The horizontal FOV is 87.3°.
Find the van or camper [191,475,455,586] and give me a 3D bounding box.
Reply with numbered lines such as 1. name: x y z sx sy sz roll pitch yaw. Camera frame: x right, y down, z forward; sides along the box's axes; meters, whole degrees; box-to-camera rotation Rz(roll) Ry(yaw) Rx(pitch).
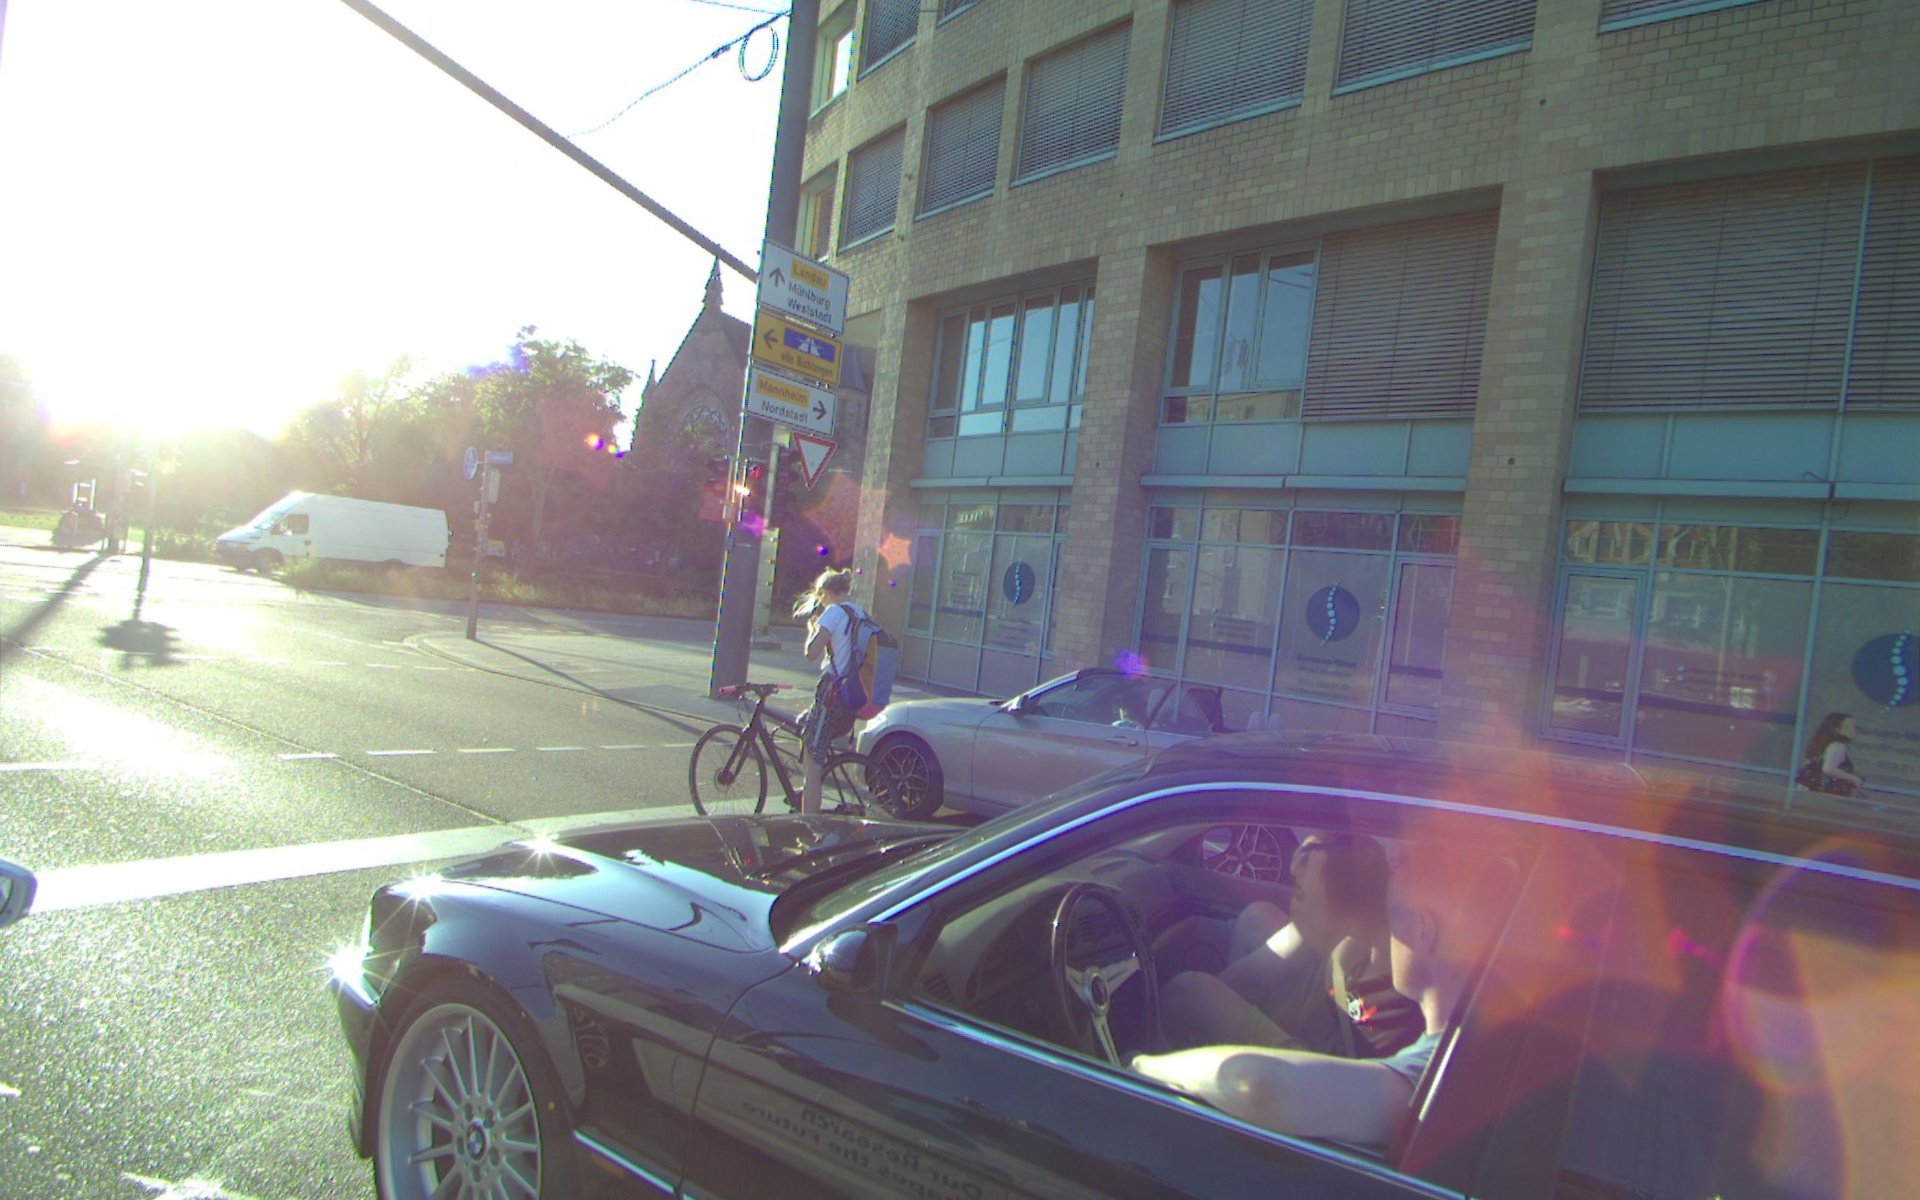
1. van or camper: -21.529 -2.239 34.450 2.556 2.708 7.048 9 1 33

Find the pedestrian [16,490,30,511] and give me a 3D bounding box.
1. pedestrian: -83.442 -8.883 89.595 0.795 1.722 0.790 6 1 -44

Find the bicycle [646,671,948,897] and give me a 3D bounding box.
1. bicycle: -1.002 1.032 6.000 1.745 0.966 0.516 7 -1 30

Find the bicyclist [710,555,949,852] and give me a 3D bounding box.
1. bicyclist: -0.755 0.569 5.878 1.020 1.501 0.657 7 -1 29

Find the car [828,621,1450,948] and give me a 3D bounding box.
1. car: 1.265 1.170 7.680 4.195 1.370 1.786 8 0 31

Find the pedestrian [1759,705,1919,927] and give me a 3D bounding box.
1. pedestrian: 7.273 1.726 8.280 0.786 1.589 0.678 9 2 29

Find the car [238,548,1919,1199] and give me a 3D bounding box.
1. car: 0.825 0.907 1.926 4.563 1.370 1.833 8 0 31
